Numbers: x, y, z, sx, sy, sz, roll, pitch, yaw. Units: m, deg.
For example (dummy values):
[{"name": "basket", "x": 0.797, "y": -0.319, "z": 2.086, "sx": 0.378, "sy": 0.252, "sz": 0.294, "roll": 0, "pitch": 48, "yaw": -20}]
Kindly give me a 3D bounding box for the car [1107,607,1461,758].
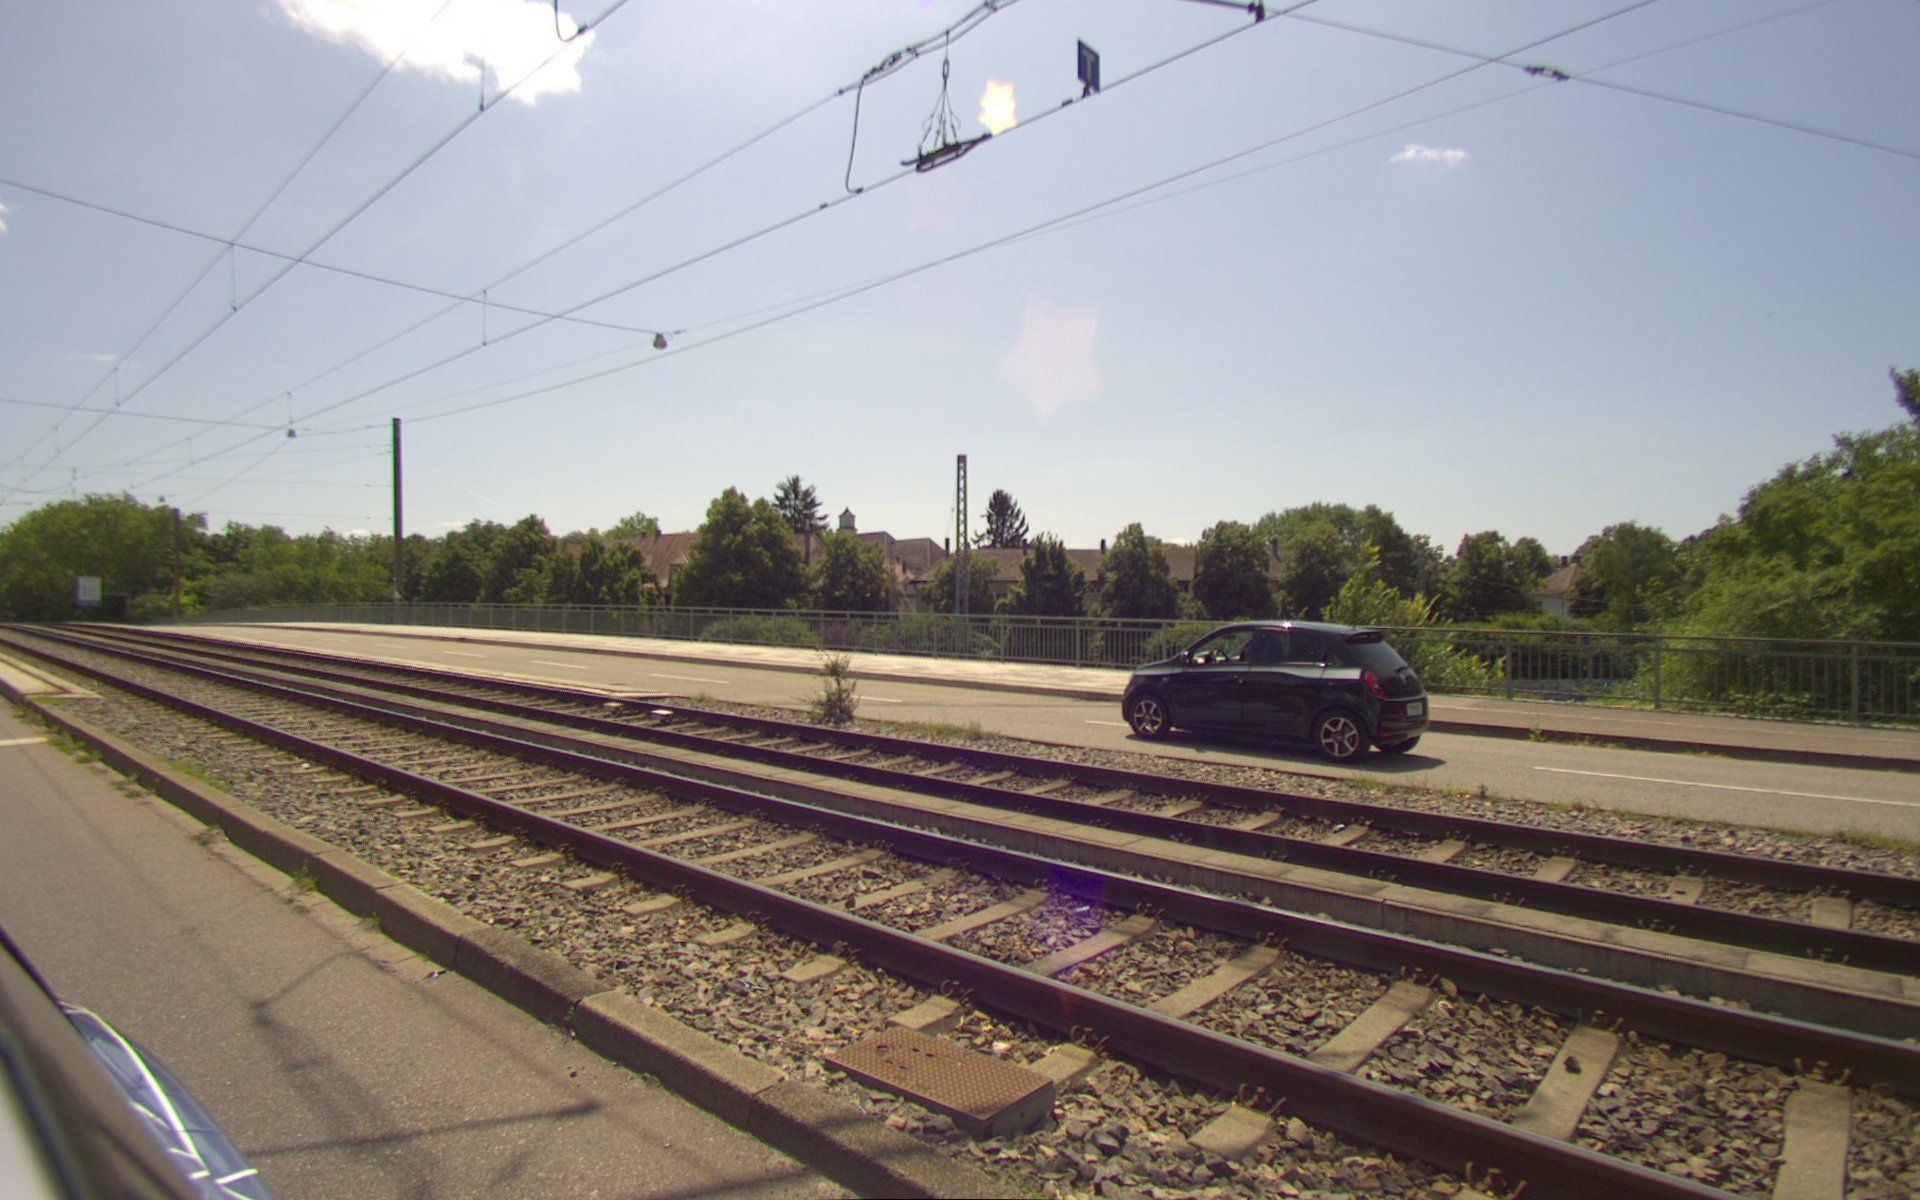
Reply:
[{"name": "car", "x": 3.814, "y": 0.870, "z": 12.249, "sx": 3.733, "sy": 1.521, "sz": 1.686, "roll": 0, "pitch": -1, "yaw": 43}]
